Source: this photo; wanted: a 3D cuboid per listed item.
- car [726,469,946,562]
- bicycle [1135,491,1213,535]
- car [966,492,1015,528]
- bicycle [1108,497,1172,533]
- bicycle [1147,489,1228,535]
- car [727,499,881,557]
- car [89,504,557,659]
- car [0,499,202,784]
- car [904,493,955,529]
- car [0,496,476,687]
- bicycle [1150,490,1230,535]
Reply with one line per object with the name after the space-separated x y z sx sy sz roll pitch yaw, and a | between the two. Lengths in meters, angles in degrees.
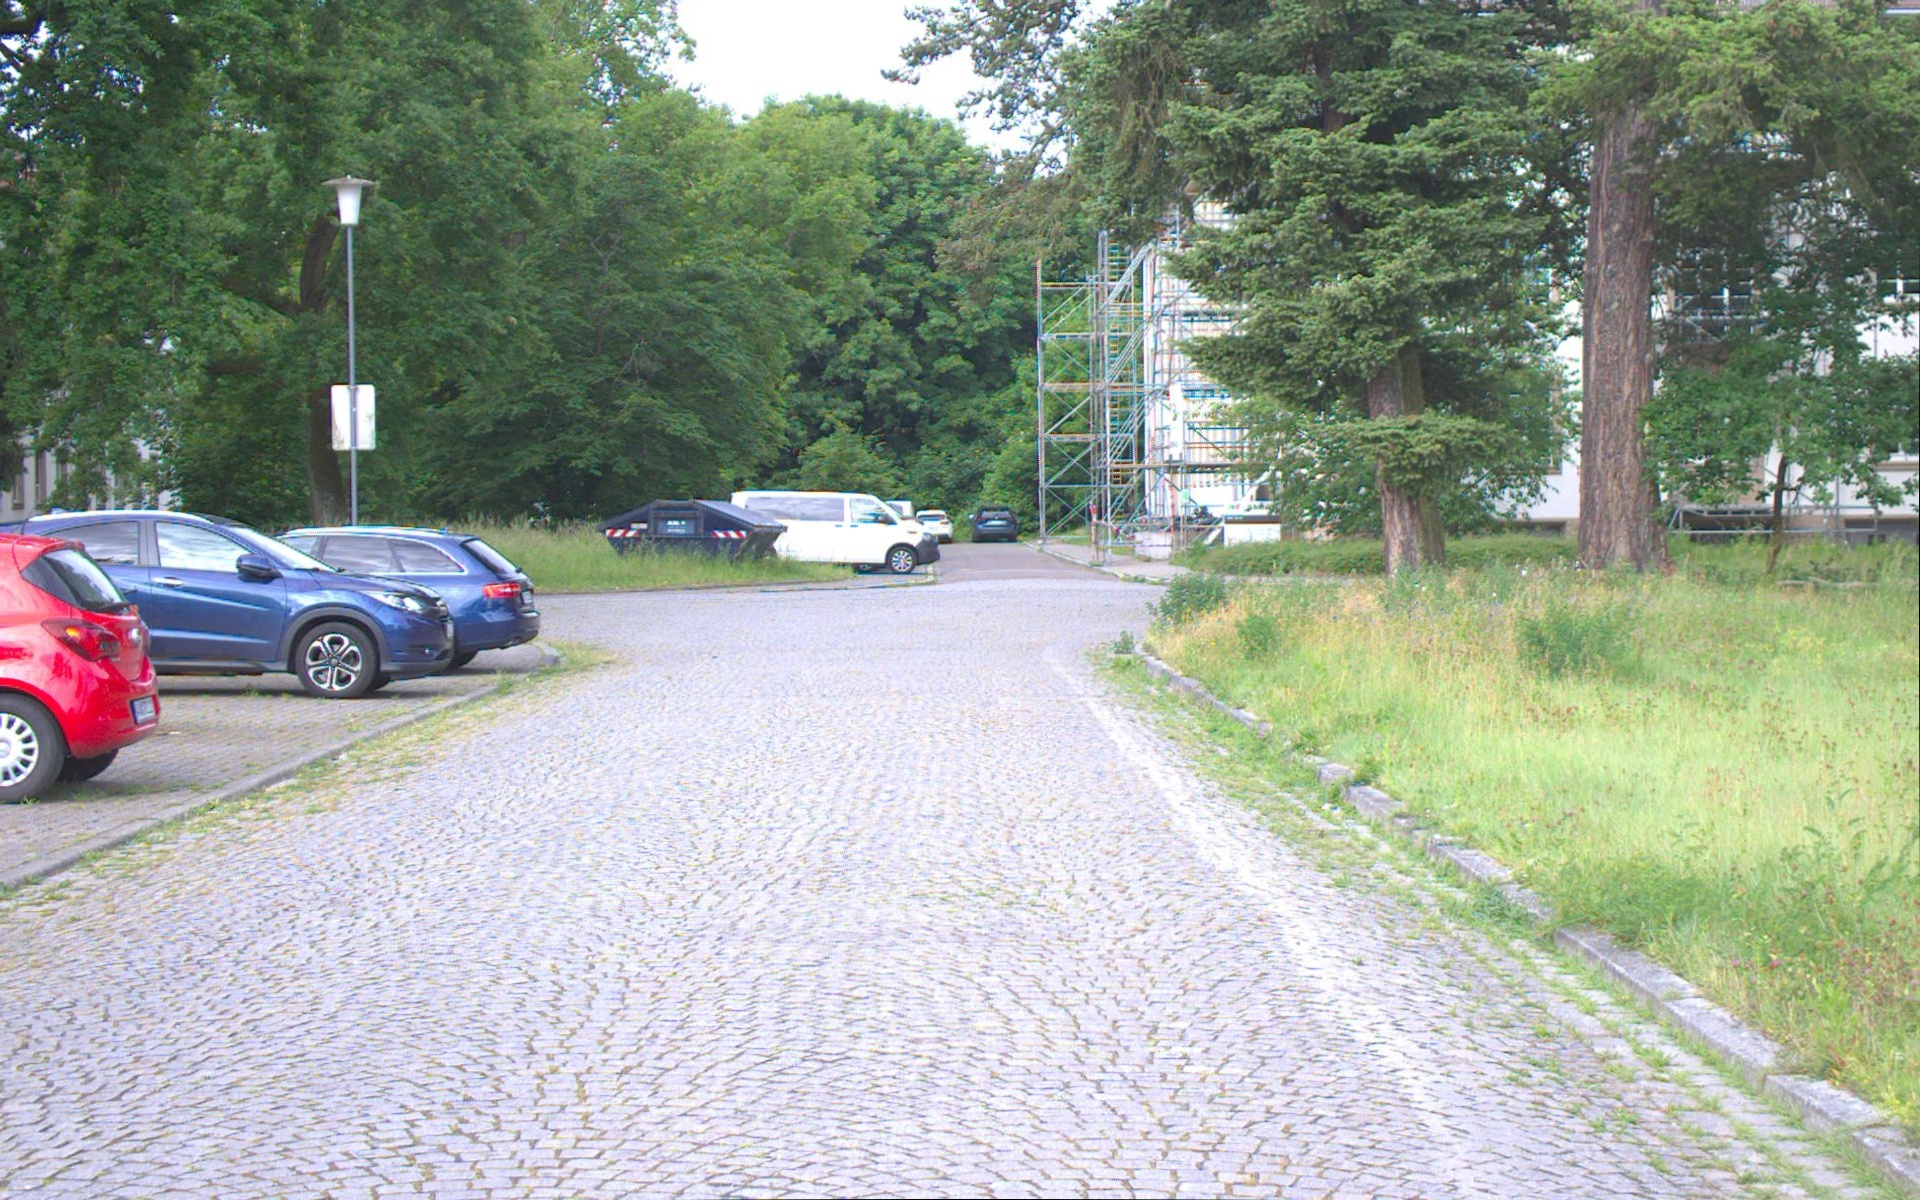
-3.016 -2.056 83.247 5.234 2.160 2.000 -1 2 -3 | car
6.263 -2.553 100.484 2.240 1.250 0.777 -1 1 2 | bicycle
1.319 -3.921 149.534 1.951 1.516 4.001 -1 2 -2 | car
6.400 -3.019 122.036 2.240 1.250 0.634 -1 1 2 | bicycle
6.362 -2.463 96.228 2.240 1.250 0.777 -1 1 2 | bicycle
-3.902 -1.812 85.846 3.788 1.390 2.000 -1 2 -3 | car
-6.318 -0.209 34.443 4.303 1.456 1.975 0 2 1 | car
-6.526 0.221 19.477 4.054 1.520 1.905 -1 2 -2 | car
-1.356 -3.866 149.232 2.118 1.516 4.001 -1 2 -2 | car
-6.413 -0.097 29.719 4.228 1.571 1.887 0 2 -2 | car
6.553 -2.508 98.140 2.240 1.250 0.777 -1 1 2 | bicycle
